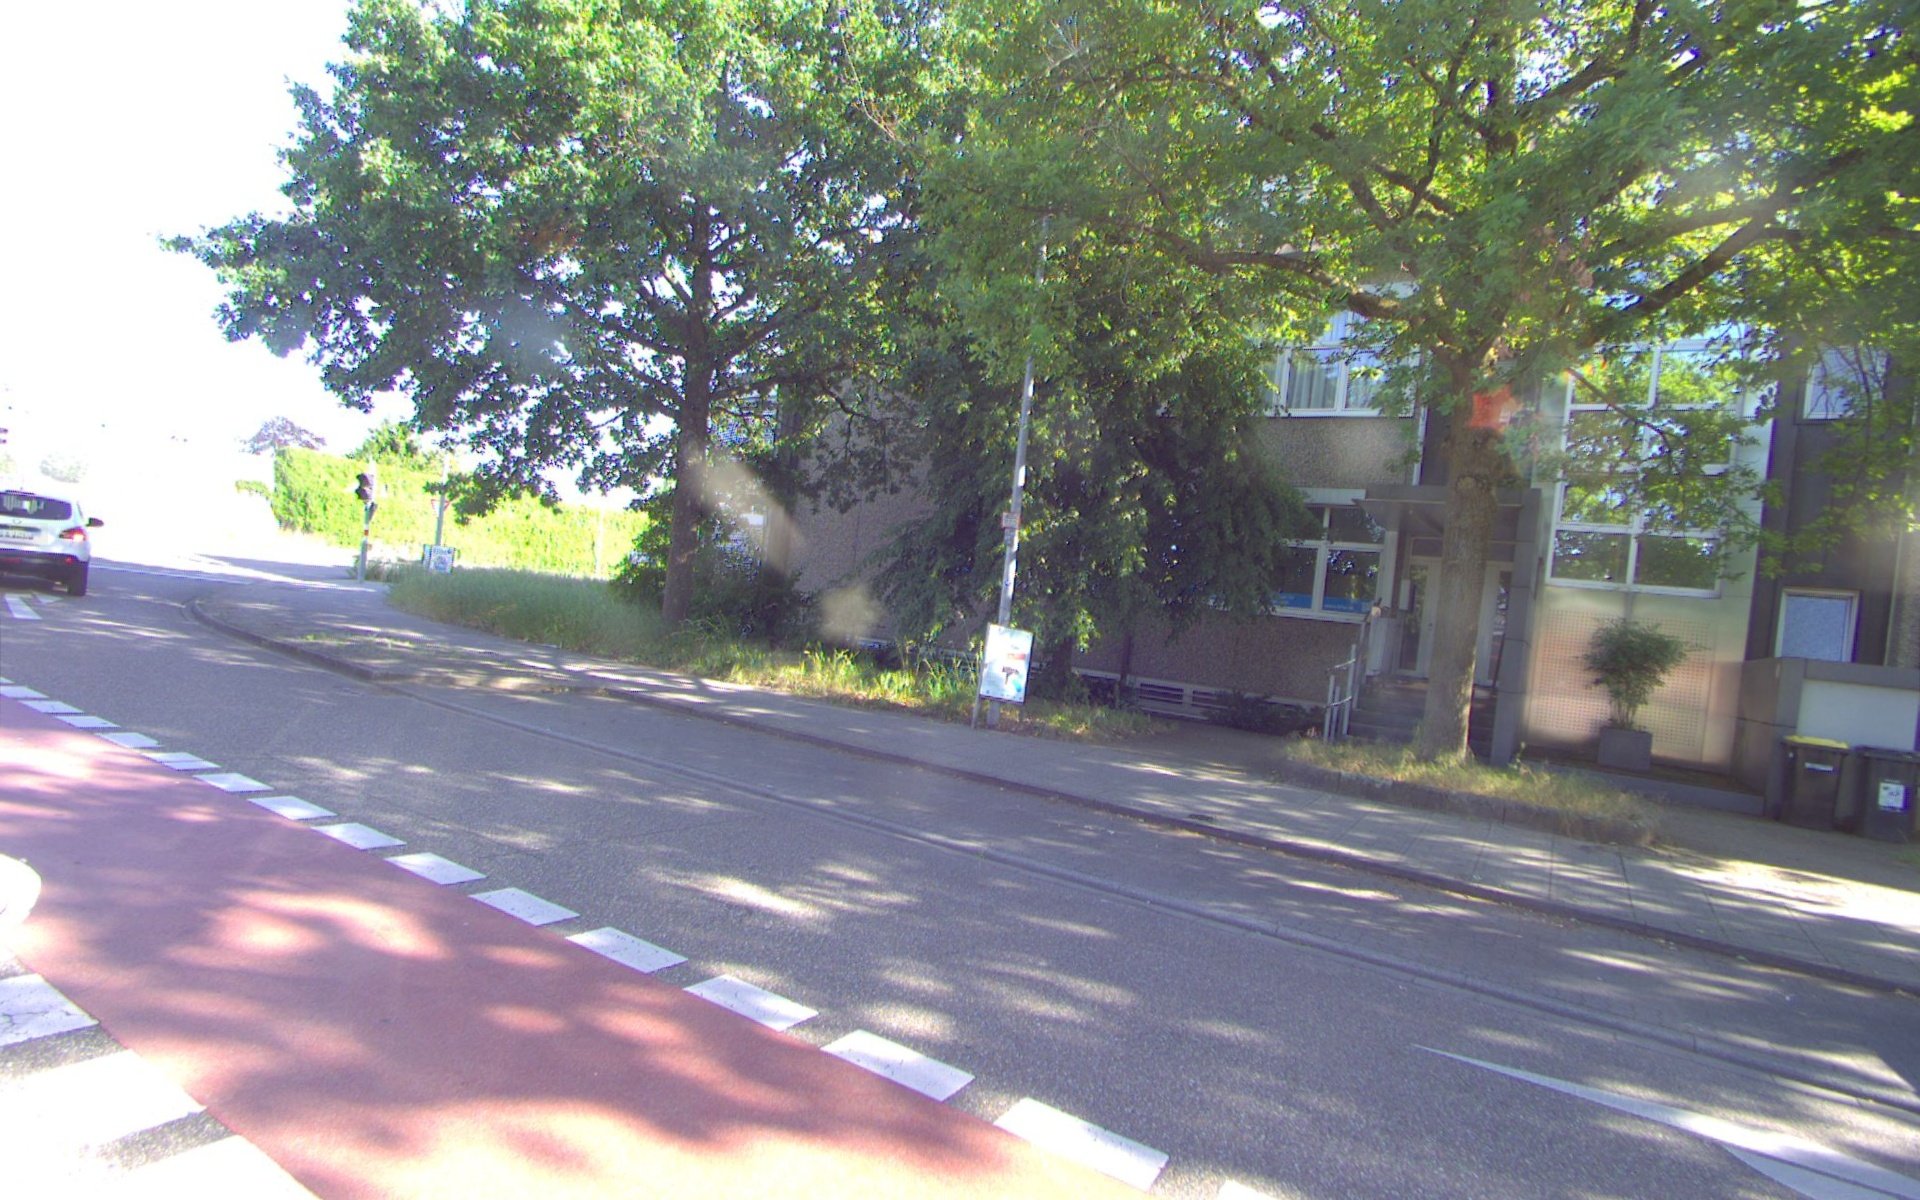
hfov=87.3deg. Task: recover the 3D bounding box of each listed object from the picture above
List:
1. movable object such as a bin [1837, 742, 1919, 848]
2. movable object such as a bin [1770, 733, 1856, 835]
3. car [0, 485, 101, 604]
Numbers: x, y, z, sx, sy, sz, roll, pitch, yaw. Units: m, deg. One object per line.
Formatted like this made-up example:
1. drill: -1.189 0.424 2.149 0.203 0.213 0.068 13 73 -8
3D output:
1. movable object such as a bin: 10.763 2.249 11.725 0.605 1.075 0.634 6 0 30
2. movable object such as a bin: 10.174 2.181 12.019 0.575 1.070 0.625 7 0 30
3. car: -15.450 -1.009 16.319 4.012 1.626 1.715 6 -1 43
